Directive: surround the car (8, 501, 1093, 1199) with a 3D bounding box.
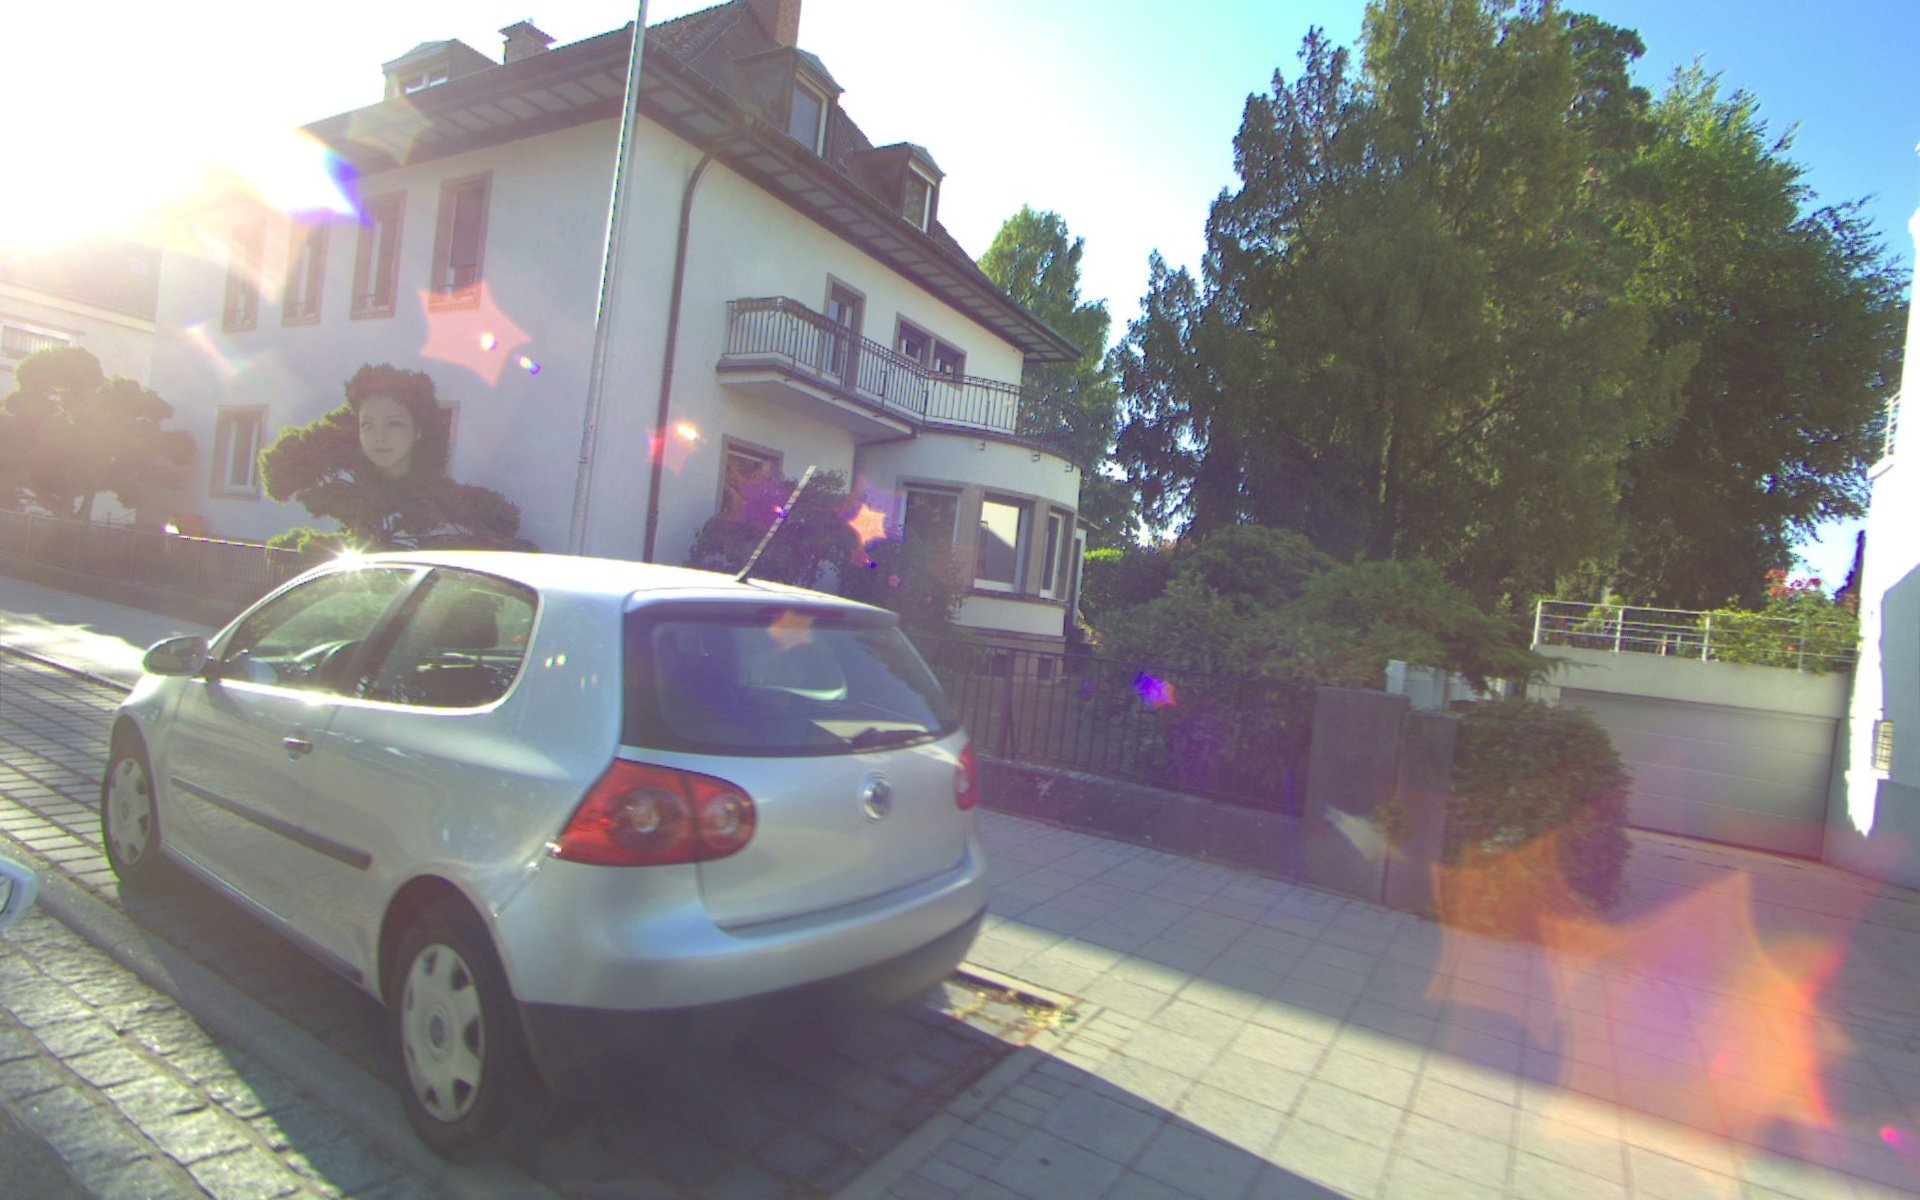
[{"bbox_3d":[-1.684,0.551,3.786,3.856,1.494,1.745,6,3,30],"label":"car"}]
